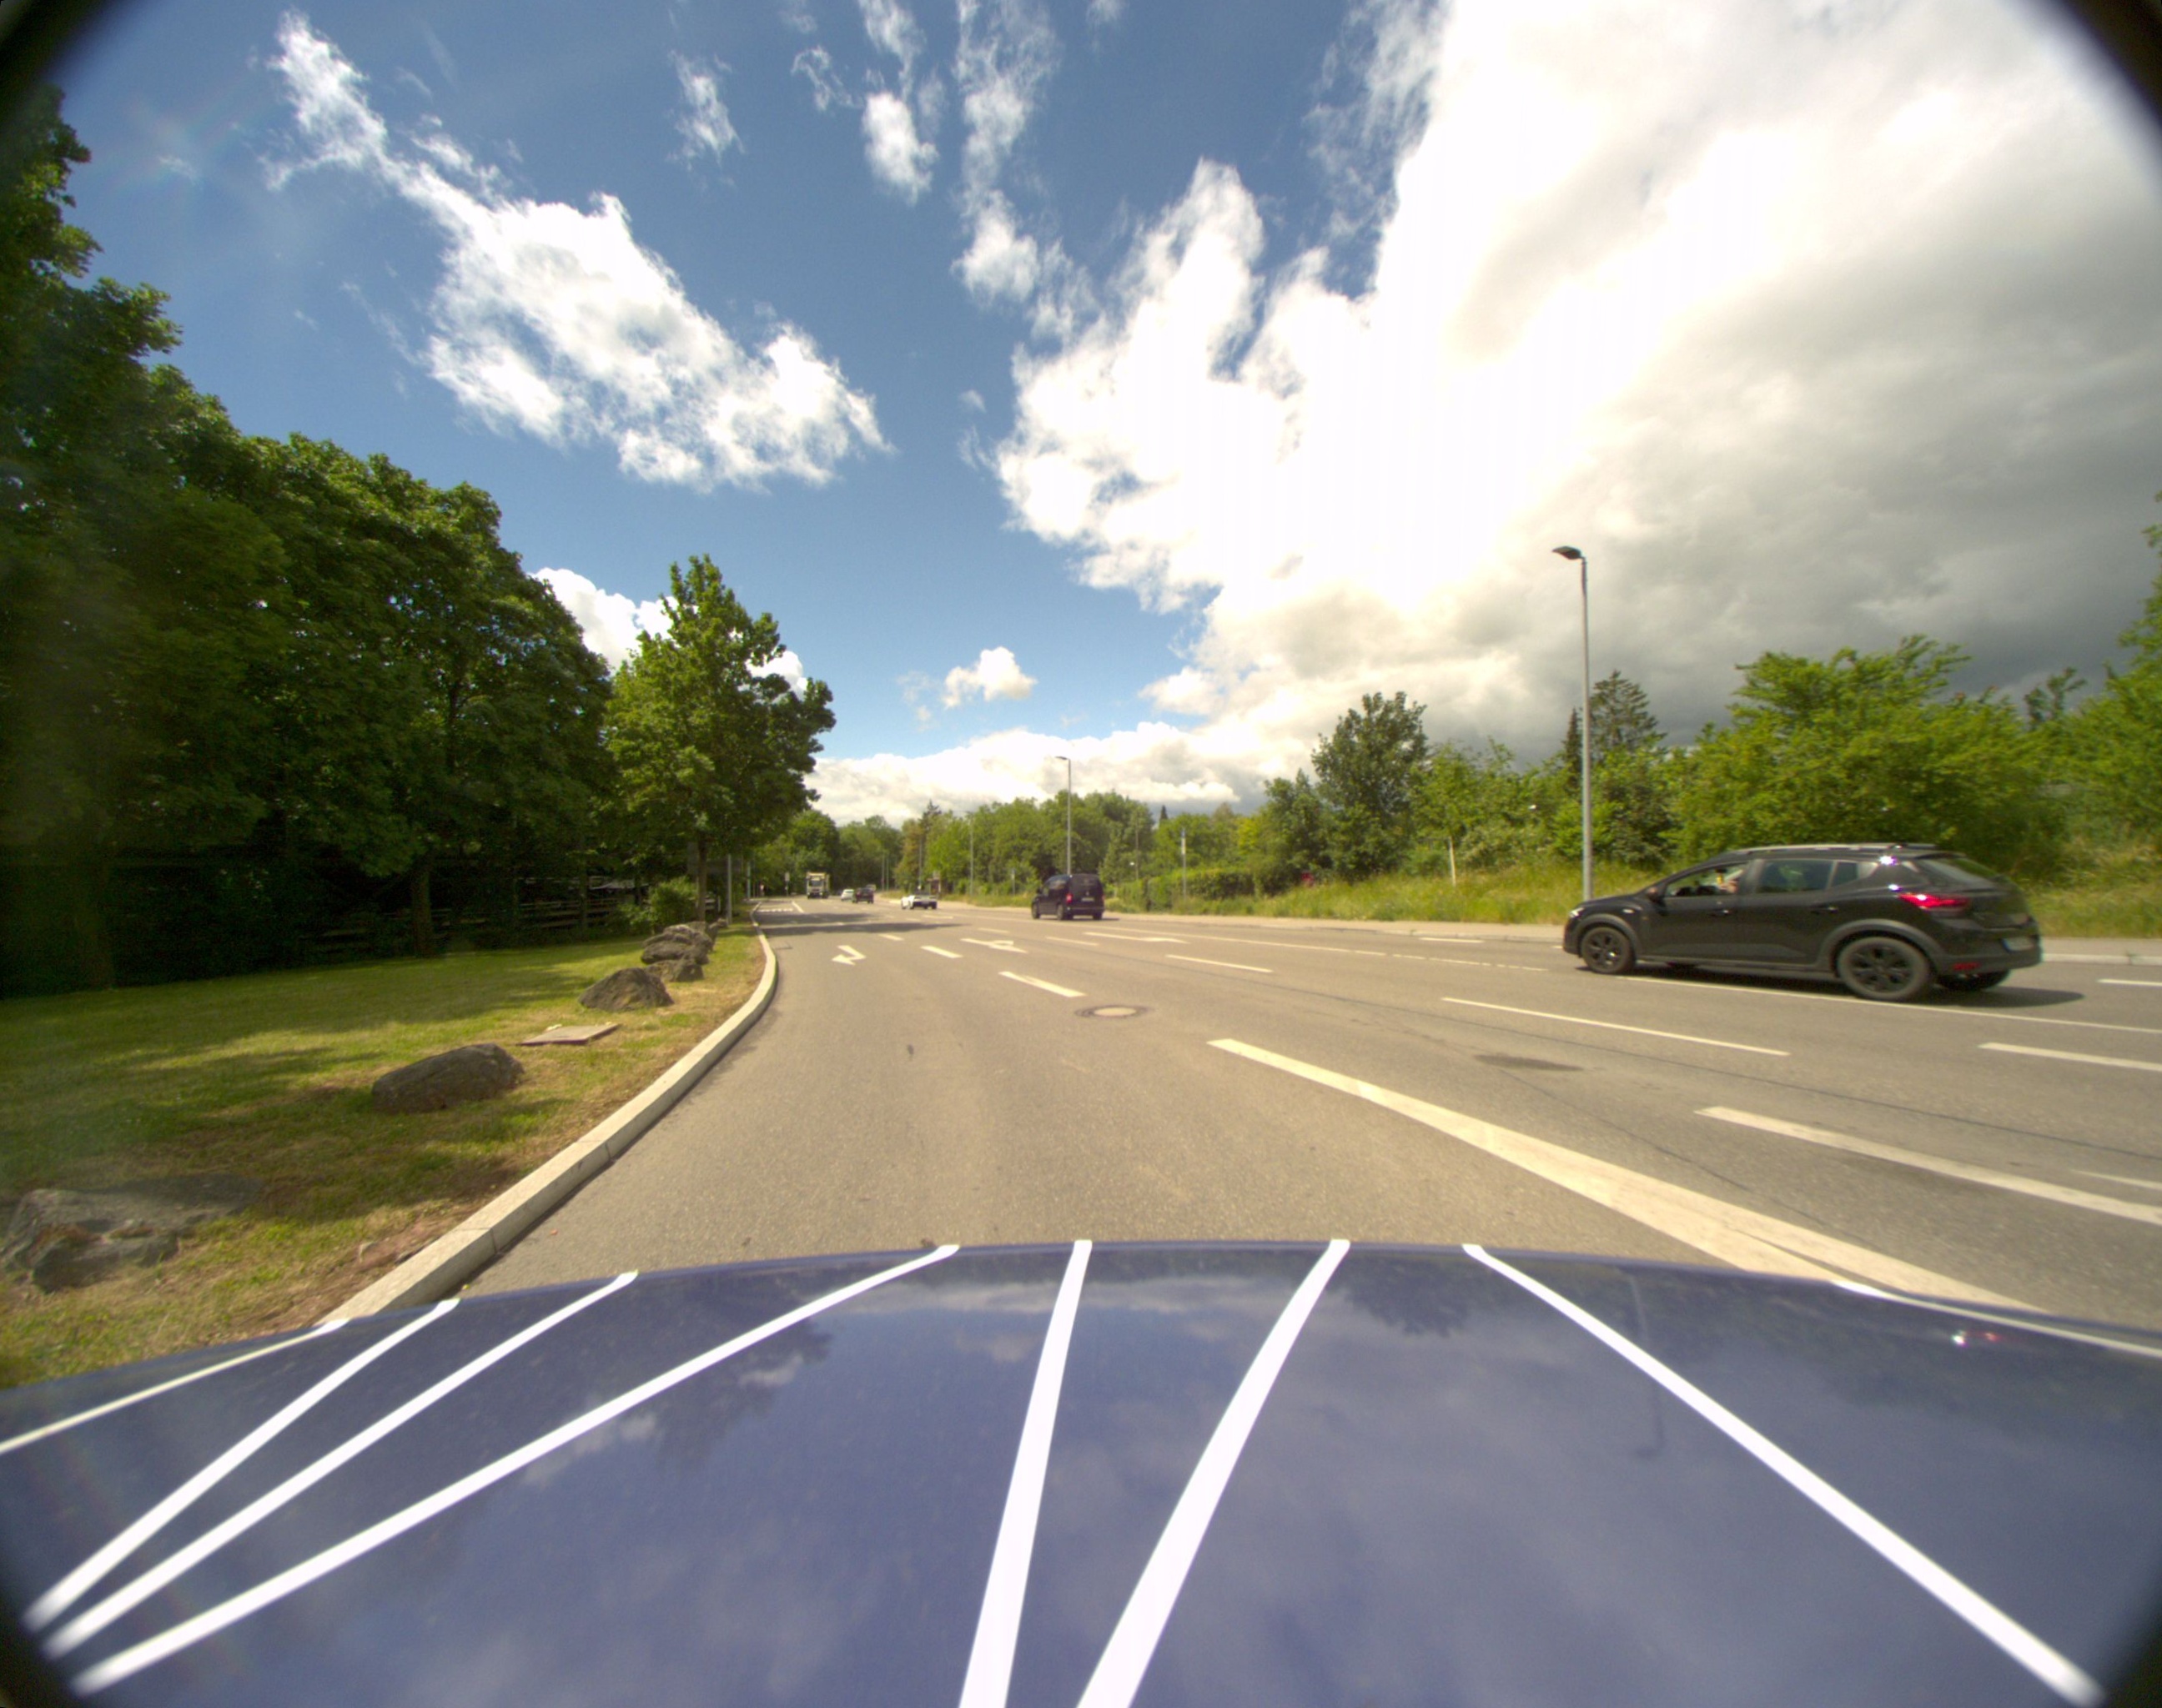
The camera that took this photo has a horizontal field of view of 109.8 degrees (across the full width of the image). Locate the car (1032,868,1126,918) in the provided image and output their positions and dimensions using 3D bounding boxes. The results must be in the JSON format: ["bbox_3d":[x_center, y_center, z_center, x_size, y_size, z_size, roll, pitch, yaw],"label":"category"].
[{"bbox_3d":[-0.203,1.585,30.144,1.793,1.767,4.804,-1,-3,-25],"label":"car"}]

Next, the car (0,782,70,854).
[{"bbox_3d":[-27.367,-0.846,18.328,3.700,1.609,1.728,-1,-3,2],"label":"car"}]

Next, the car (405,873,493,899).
[{"bbox_3d":[-37.999,1.889,45.733,3.854,1.477,1.754,1,-1,1],"label":"car"}]

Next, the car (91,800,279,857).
[{"bbox_3d":[-27.104,-0.740,23.064,3.700,1.532,1.728,-1,-3,2],"label":"car"}]

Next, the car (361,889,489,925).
[{"bbox_3d":[-27.204,2.185,31.574,3.854,1.384,1.696,-1,-1,1],"label":"car"}]

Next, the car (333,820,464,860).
[{"bbox_3d":[-26.897,-0.527,30.024,3.700,1.422,1.660,-1,-3,2],"label":"car"}]

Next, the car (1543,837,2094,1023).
[{"bbox_3d":[7.942,0.697,8.765,1.793,1.568,4.157,-1,-1,-23],"label":"car"}]

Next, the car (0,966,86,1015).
[{"bbox_3d":[-38.649,4.853,27.194,3.854,1.438,1.696,1,-1,1],"label":"car"}]

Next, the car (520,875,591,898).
[{"bbox_3d":[-38.186,2.324,55.225,3.931,1.542,1.770,1,-1,2],"label":"car"}]

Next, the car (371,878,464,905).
[{"bbox_3d":[-37.772,2.129,43.313,3.854,1.477,1.696,1,-1,1],"label":"car"}]

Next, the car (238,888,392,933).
[{"bbox_3d":[-27.390,1.996,27.253,3.854,1.480,1.696,-1,-1,1],"label":"car"}]

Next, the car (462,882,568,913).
[{"bbox_3d":[-27.160,2.081,36.546,3.854,1.384,1.696,-1,-1,1],"label":"car"}]

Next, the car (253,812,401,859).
[{"bbox_3d":[-27.374,-0.651,27.665,3.700,1.532,1.728,-1,-3,2],"label":"car"}]

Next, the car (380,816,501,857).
[{"bbox_3d":[-26.792,-0.698,31.848,3.700,1.552,1.660,-1,-3,2],"label":"car"}]

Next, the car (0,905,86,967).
[{"bbox_3d":[-27.432,2.024,18.632,3.795,1.384,1.777,-1,-1,1],"label":"car"}]

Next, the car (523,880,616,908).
[{"bbox_3d":[-27.558,2.136,41.000,3.854,1.384,1.696,-1,-1,1],"label":"car"}]

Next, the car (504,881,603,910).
[{"bbox_3d":[-26.907,2.117,38.827,3.854,1.384,1.696,-1,-1,1],"label":"car"}]

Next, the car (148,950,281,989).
[{"bbox_3d":[-37.580,4.993,33.006,3.854,1.438,1.696,1,-1,1],"label":"car"}]

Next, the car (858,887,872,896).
[{"bbox_3d":[-41.317,7.143,145.395,1.828,1.547,4.627,1,-3,-9],"label":"car"}]

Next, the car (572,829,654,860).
[{"bbox_3d":[-27.036,-0.510,43.935,3.700,1.631,1.660,-1,-3,2],"label":"car"}]

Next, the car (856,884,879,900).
[{"bbox_3d":[-22.878,4.062,81.487,1.829,1.644,4.525,1,-2,-23],"label":"car"}]

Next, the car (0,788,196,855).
[{"bbox_3d":[-27.159,-0.845,20.865,3.700,1.609,1.728,-1,-3,2],"label":"car"}]

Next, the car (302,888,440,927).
[{"bbox_3d":[-27.635,2.083,29.645,3.854,1.384,1.696,-1,-1,1],"label":"car"}]

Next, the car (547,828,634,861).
[{"bbox_3d":[-26.726,-0.490,41.493,3.700,1.609,1.660,-1,-3,2],"label":"car"}]

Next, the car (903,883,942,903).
[{"bbox_3d":[-11.319,2.760,54.108,1.913,1.283,4.601,0,-2,-22],"label":"car"}]

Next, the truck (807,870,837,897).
[{"bbox_3d":[-39.556,4.484,116.508,3.245,3.837,9.863,1,-1,-13],"label":"truck"}]

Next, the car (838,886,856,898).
[{"bbox_3d":[-30.027,4.823,97.523,1.774,1.433,3.893,1,-2,-24],"label":"car"}]
